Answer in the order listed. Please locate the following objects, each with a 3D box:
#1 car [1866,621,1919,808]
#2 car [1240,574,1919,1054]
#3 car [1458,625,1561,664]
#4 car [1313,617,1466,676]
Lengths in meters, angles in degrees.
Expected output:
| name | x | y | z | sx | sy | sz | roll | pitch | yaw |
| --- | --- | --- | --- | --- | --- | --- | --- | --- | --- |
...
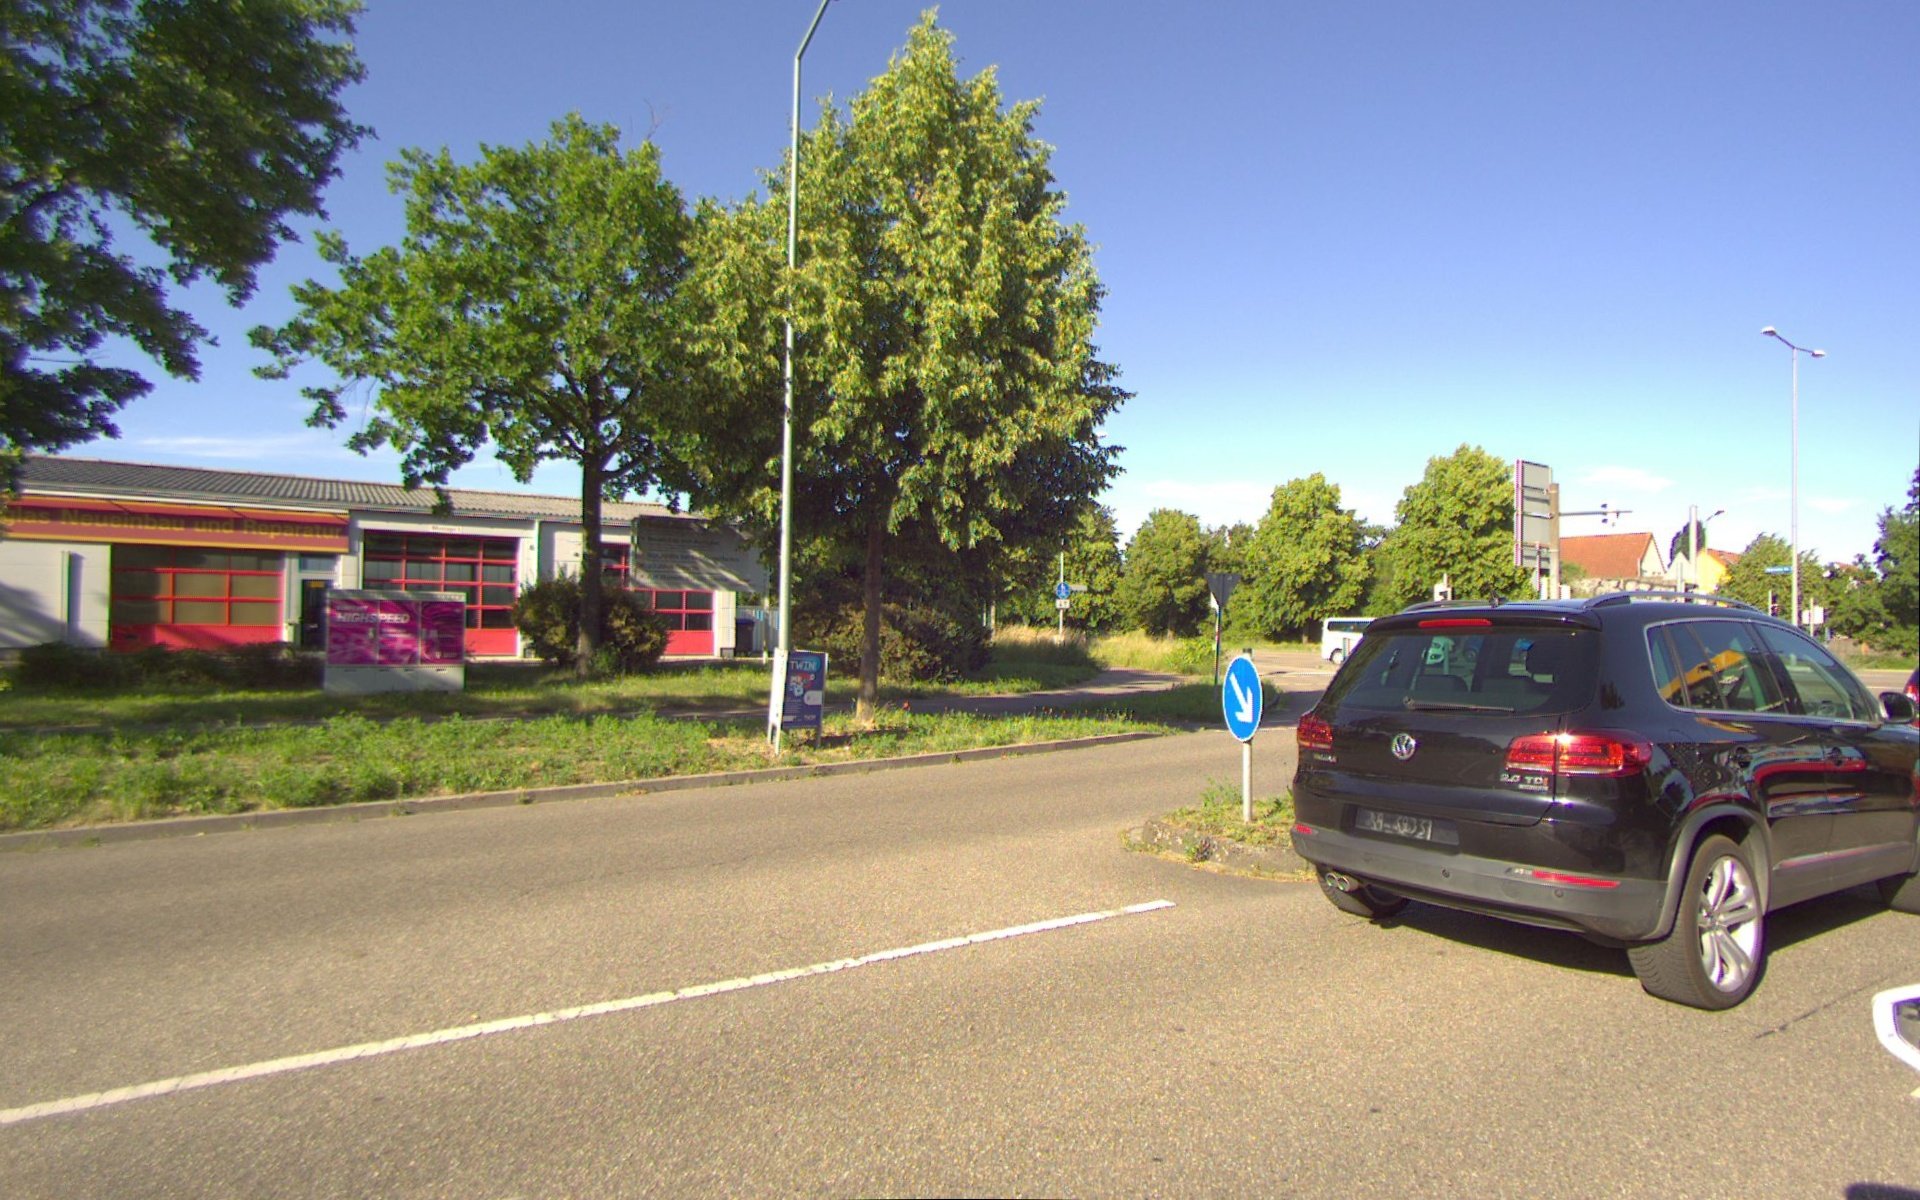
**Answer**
| name | x | y | z | sx | sy | sz | roll | pitch | yaw |
| --- | --- | --- | --- | --- | --- | --- | --- | --- | --- |
| car | 10.232 | 1.008 | 9.216 | 3.954 | 1.610 | 1.753 | 1 | -3 | -31 |
| car | 3.554 | 0.824 | 5.315 | 3.954 | 1.675 | 1.763 | 1 | -3 | -31 |
| car | 23.759 | 1.907 | 43.497 | 1.733 | 1.581 | 3.559 | 2 | -2 | -35 |
| car | 17.242 | 1.798 | 40.602 | 2.160 | 2.146 | 5.350 | 2 | -1 | -35 |
